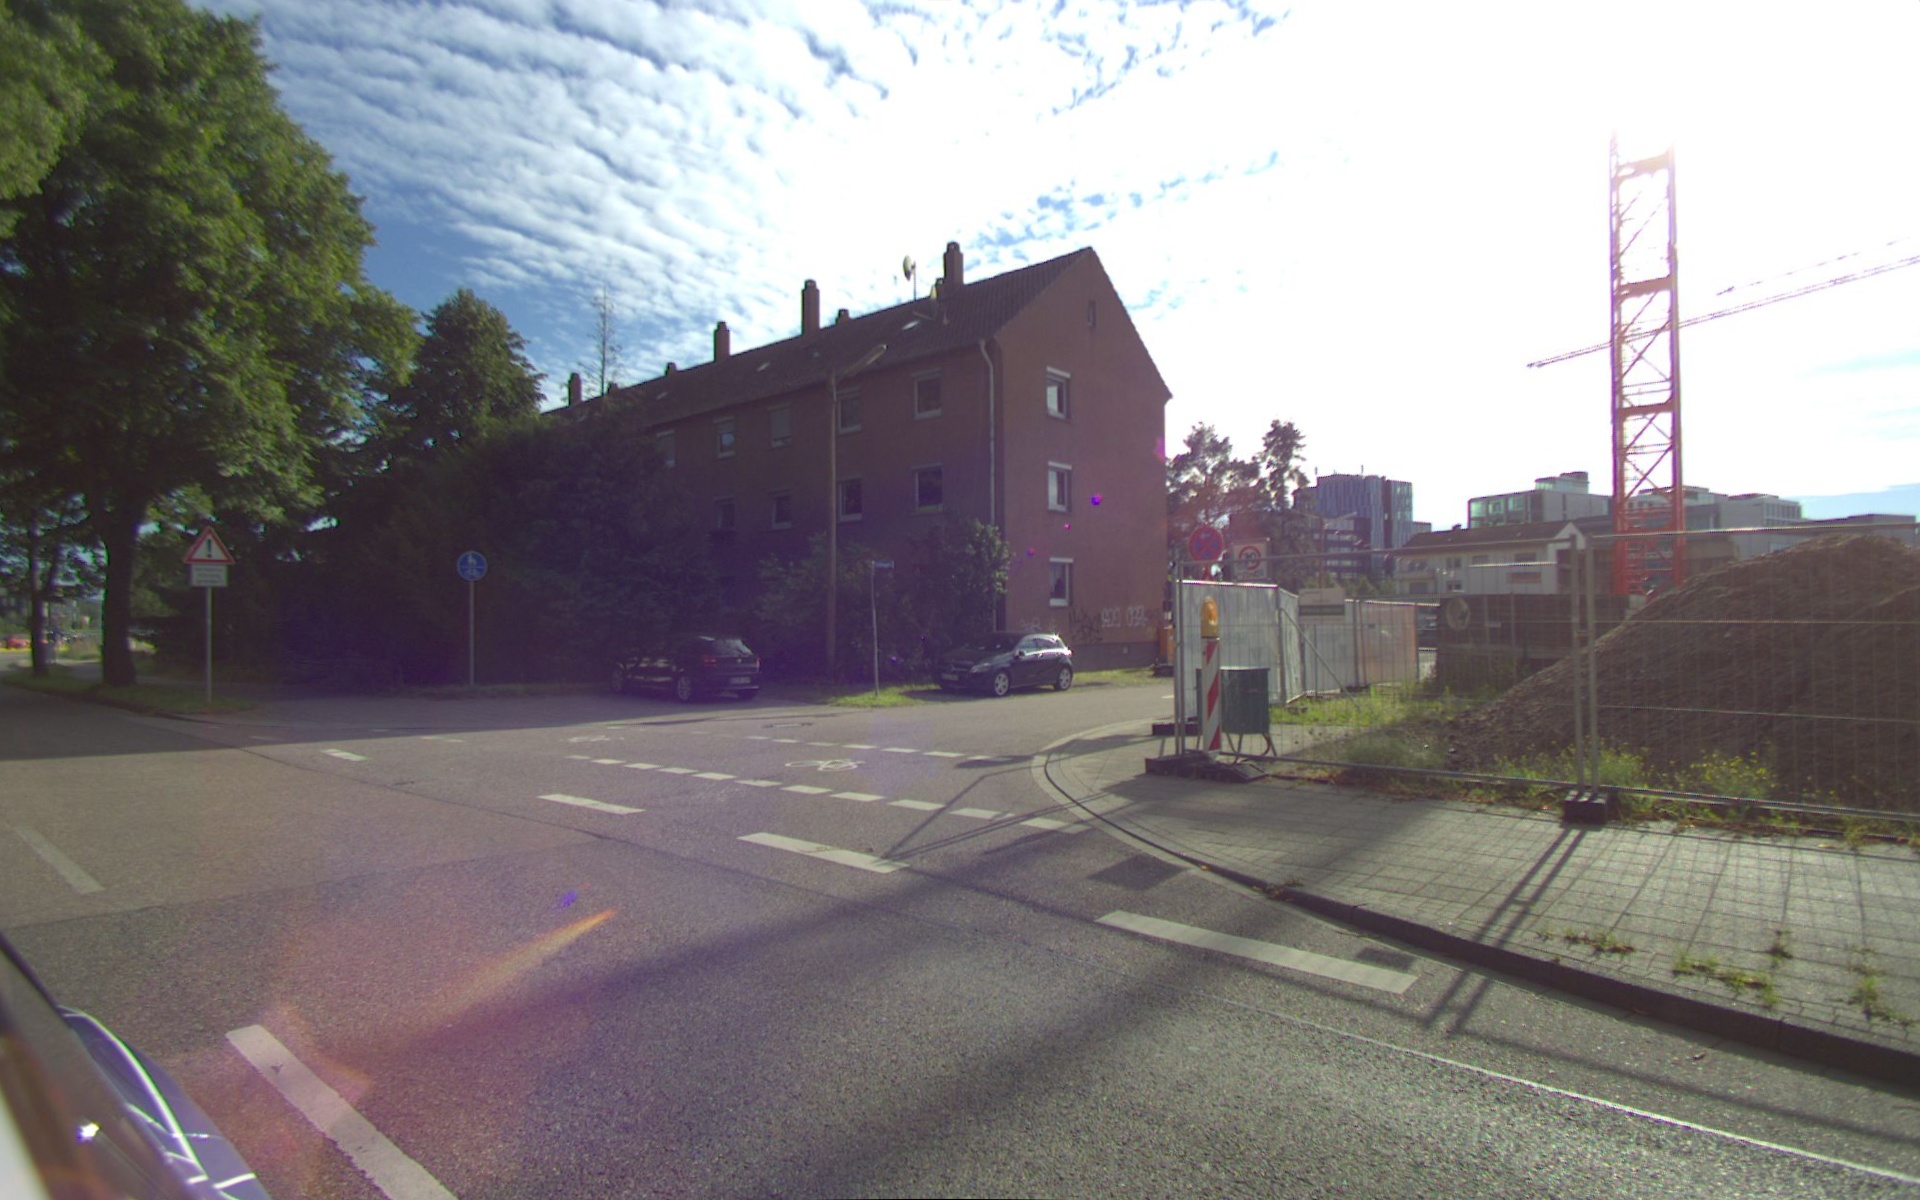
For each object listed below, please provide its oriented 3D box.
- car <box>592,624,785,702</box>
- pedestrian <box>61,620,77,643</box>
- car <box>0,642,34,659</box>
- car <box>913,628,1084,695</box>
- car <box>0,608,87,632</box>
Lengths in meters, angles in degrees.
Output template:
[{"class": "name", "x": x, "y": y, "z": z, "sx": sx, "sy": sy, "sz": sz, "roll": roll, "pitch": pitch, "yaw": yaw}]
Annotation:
[{"class": "car", "x": -5.968, "y": 1.282, "z": 21.950, "sx": 4.508, "sy": 1.439, "sz": 1.972, "roll": 0, "pitch": -1, "yaw": 43}, {"class": "pedestrian", "x": -73.621, "y": 2.586, "z": 83.635, "sx": 0.739, "sy": 1.838, "sz": 0.705, "roll": -2, "pitch": 0, "yaw": 21}, {"class": "car", "x": -92.832, "y": 4.938, "z": 97.567, "sx": 2.295, "sy": 1.535, "sz": 4.824, "roll": -1, "pitch": 0, "yaw": 27}, {"class": "car", "x": 0.995, "y": 1.422, "z": 24.587, "sx": 2.001, "sy": 1.314, "sz": 3.943, "roll": 4, "pitch": 2, "yaw": 43}, {"class": "car", "x": -80.127, "y": 1.718, "z": 87.997, "sx": 6.161, "sy": 1.881, "sz": 2.479, "roll": -1, "pitch": 0, "yaw": -2}]
